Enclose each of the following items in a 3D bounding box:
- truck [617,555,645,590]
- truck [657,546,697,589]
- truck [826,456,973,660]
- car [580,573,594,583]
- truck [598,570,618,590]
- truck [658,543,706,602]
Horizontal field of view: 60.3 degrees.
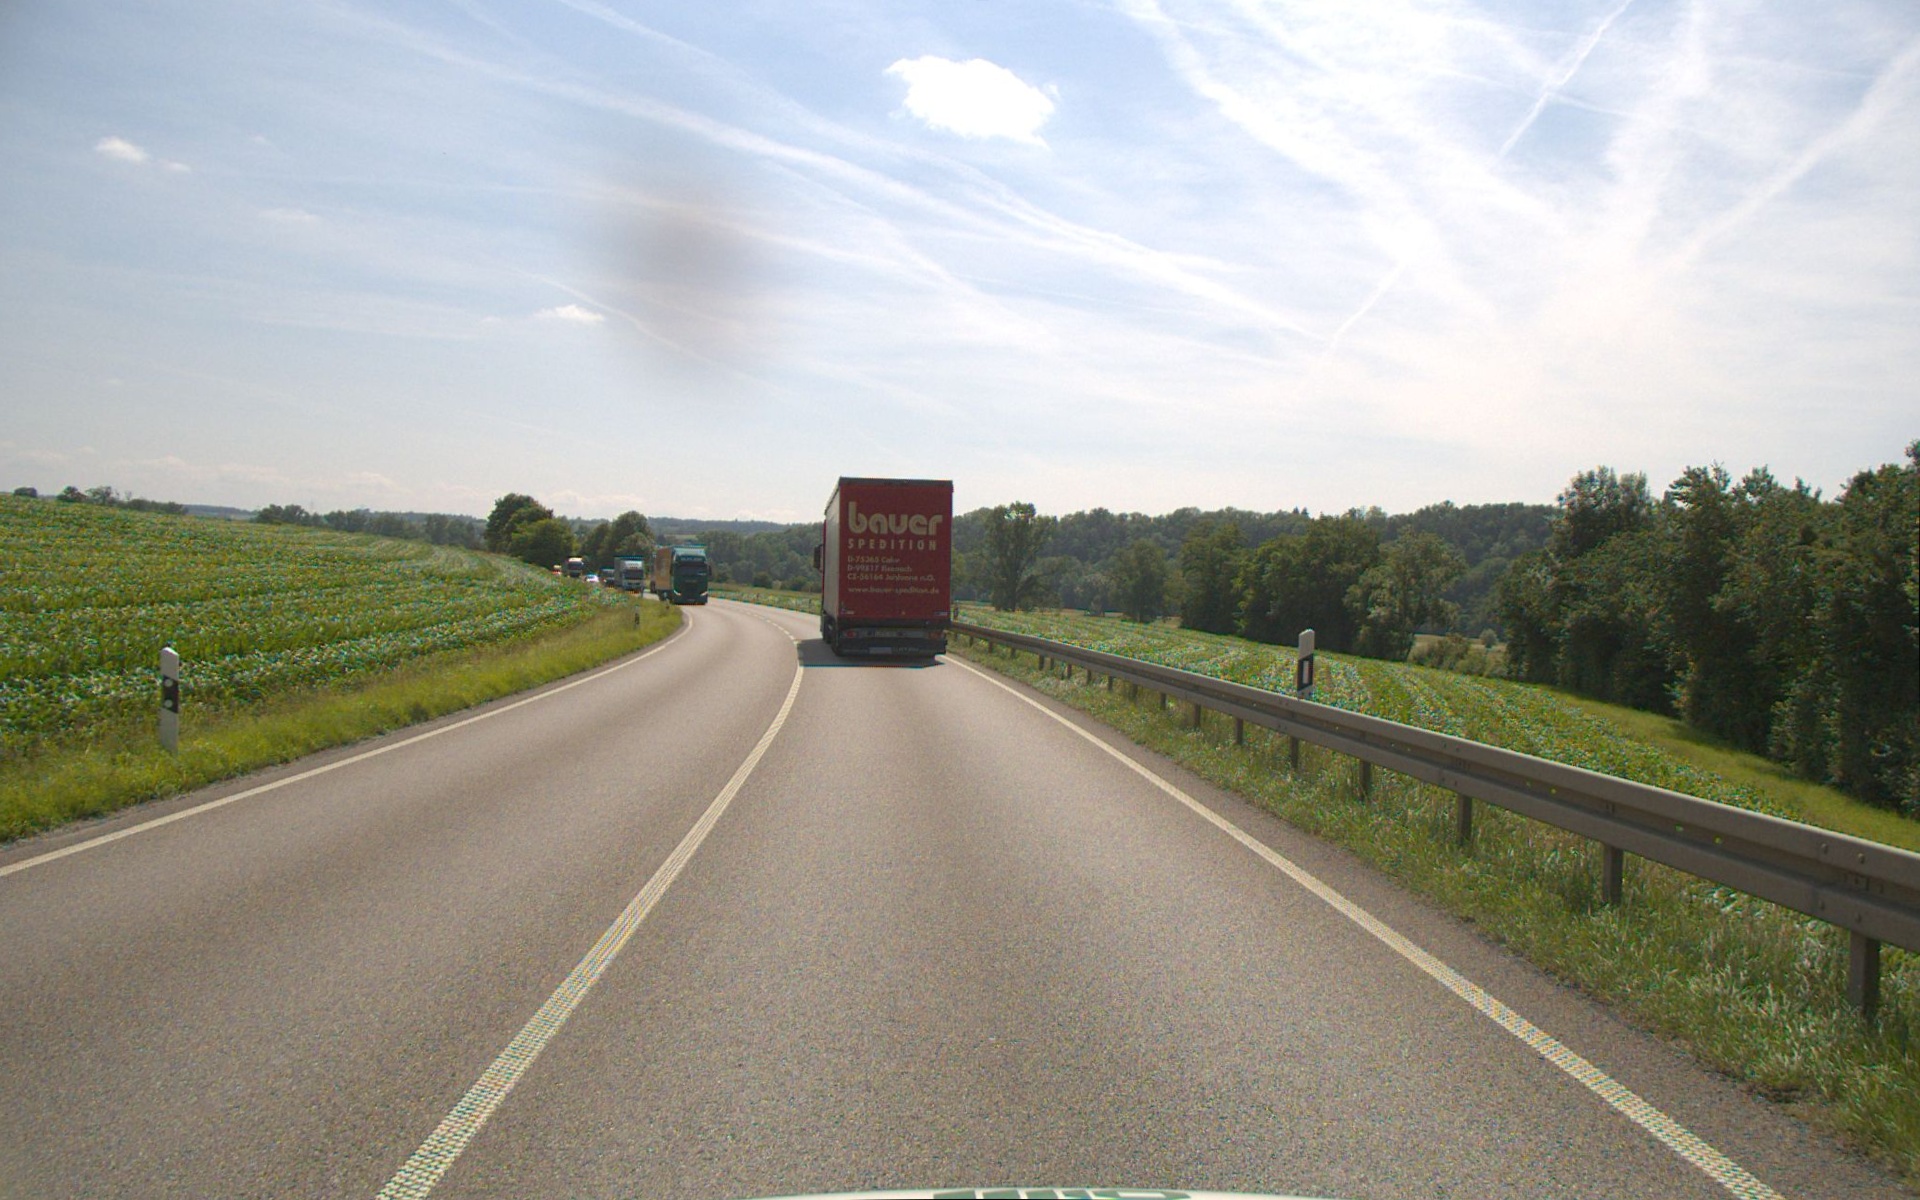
[{"bbox_3d":[-34.903,-2.902,175.491,2.693,3.641,9.697,1,1,-12],"label":"truck"},{"bbox_3d":[-30.659,-3.411,178.671,3.577,4.367,11.945,1,0,-13],"label":"truck"},{"bbox_3d":[-1.638,-0.912,39.748,3.034,4.337,8.305,1,0,-5],"label":"truck"},{"bbox_3d":[-53.129,-3.138,235.547,1.699,1.465,4.161,1,1,-15],"label":"car"},{"bbox_3d":[-42.732,-2.407,200.801,1.977,2.360,5.170,1,1,-16],"label":"truck"},{"bbox_3d":[-21.141,-2.069,125.177,2.722,4.068,16.976,1,1,-12],"label":"truck"}]
